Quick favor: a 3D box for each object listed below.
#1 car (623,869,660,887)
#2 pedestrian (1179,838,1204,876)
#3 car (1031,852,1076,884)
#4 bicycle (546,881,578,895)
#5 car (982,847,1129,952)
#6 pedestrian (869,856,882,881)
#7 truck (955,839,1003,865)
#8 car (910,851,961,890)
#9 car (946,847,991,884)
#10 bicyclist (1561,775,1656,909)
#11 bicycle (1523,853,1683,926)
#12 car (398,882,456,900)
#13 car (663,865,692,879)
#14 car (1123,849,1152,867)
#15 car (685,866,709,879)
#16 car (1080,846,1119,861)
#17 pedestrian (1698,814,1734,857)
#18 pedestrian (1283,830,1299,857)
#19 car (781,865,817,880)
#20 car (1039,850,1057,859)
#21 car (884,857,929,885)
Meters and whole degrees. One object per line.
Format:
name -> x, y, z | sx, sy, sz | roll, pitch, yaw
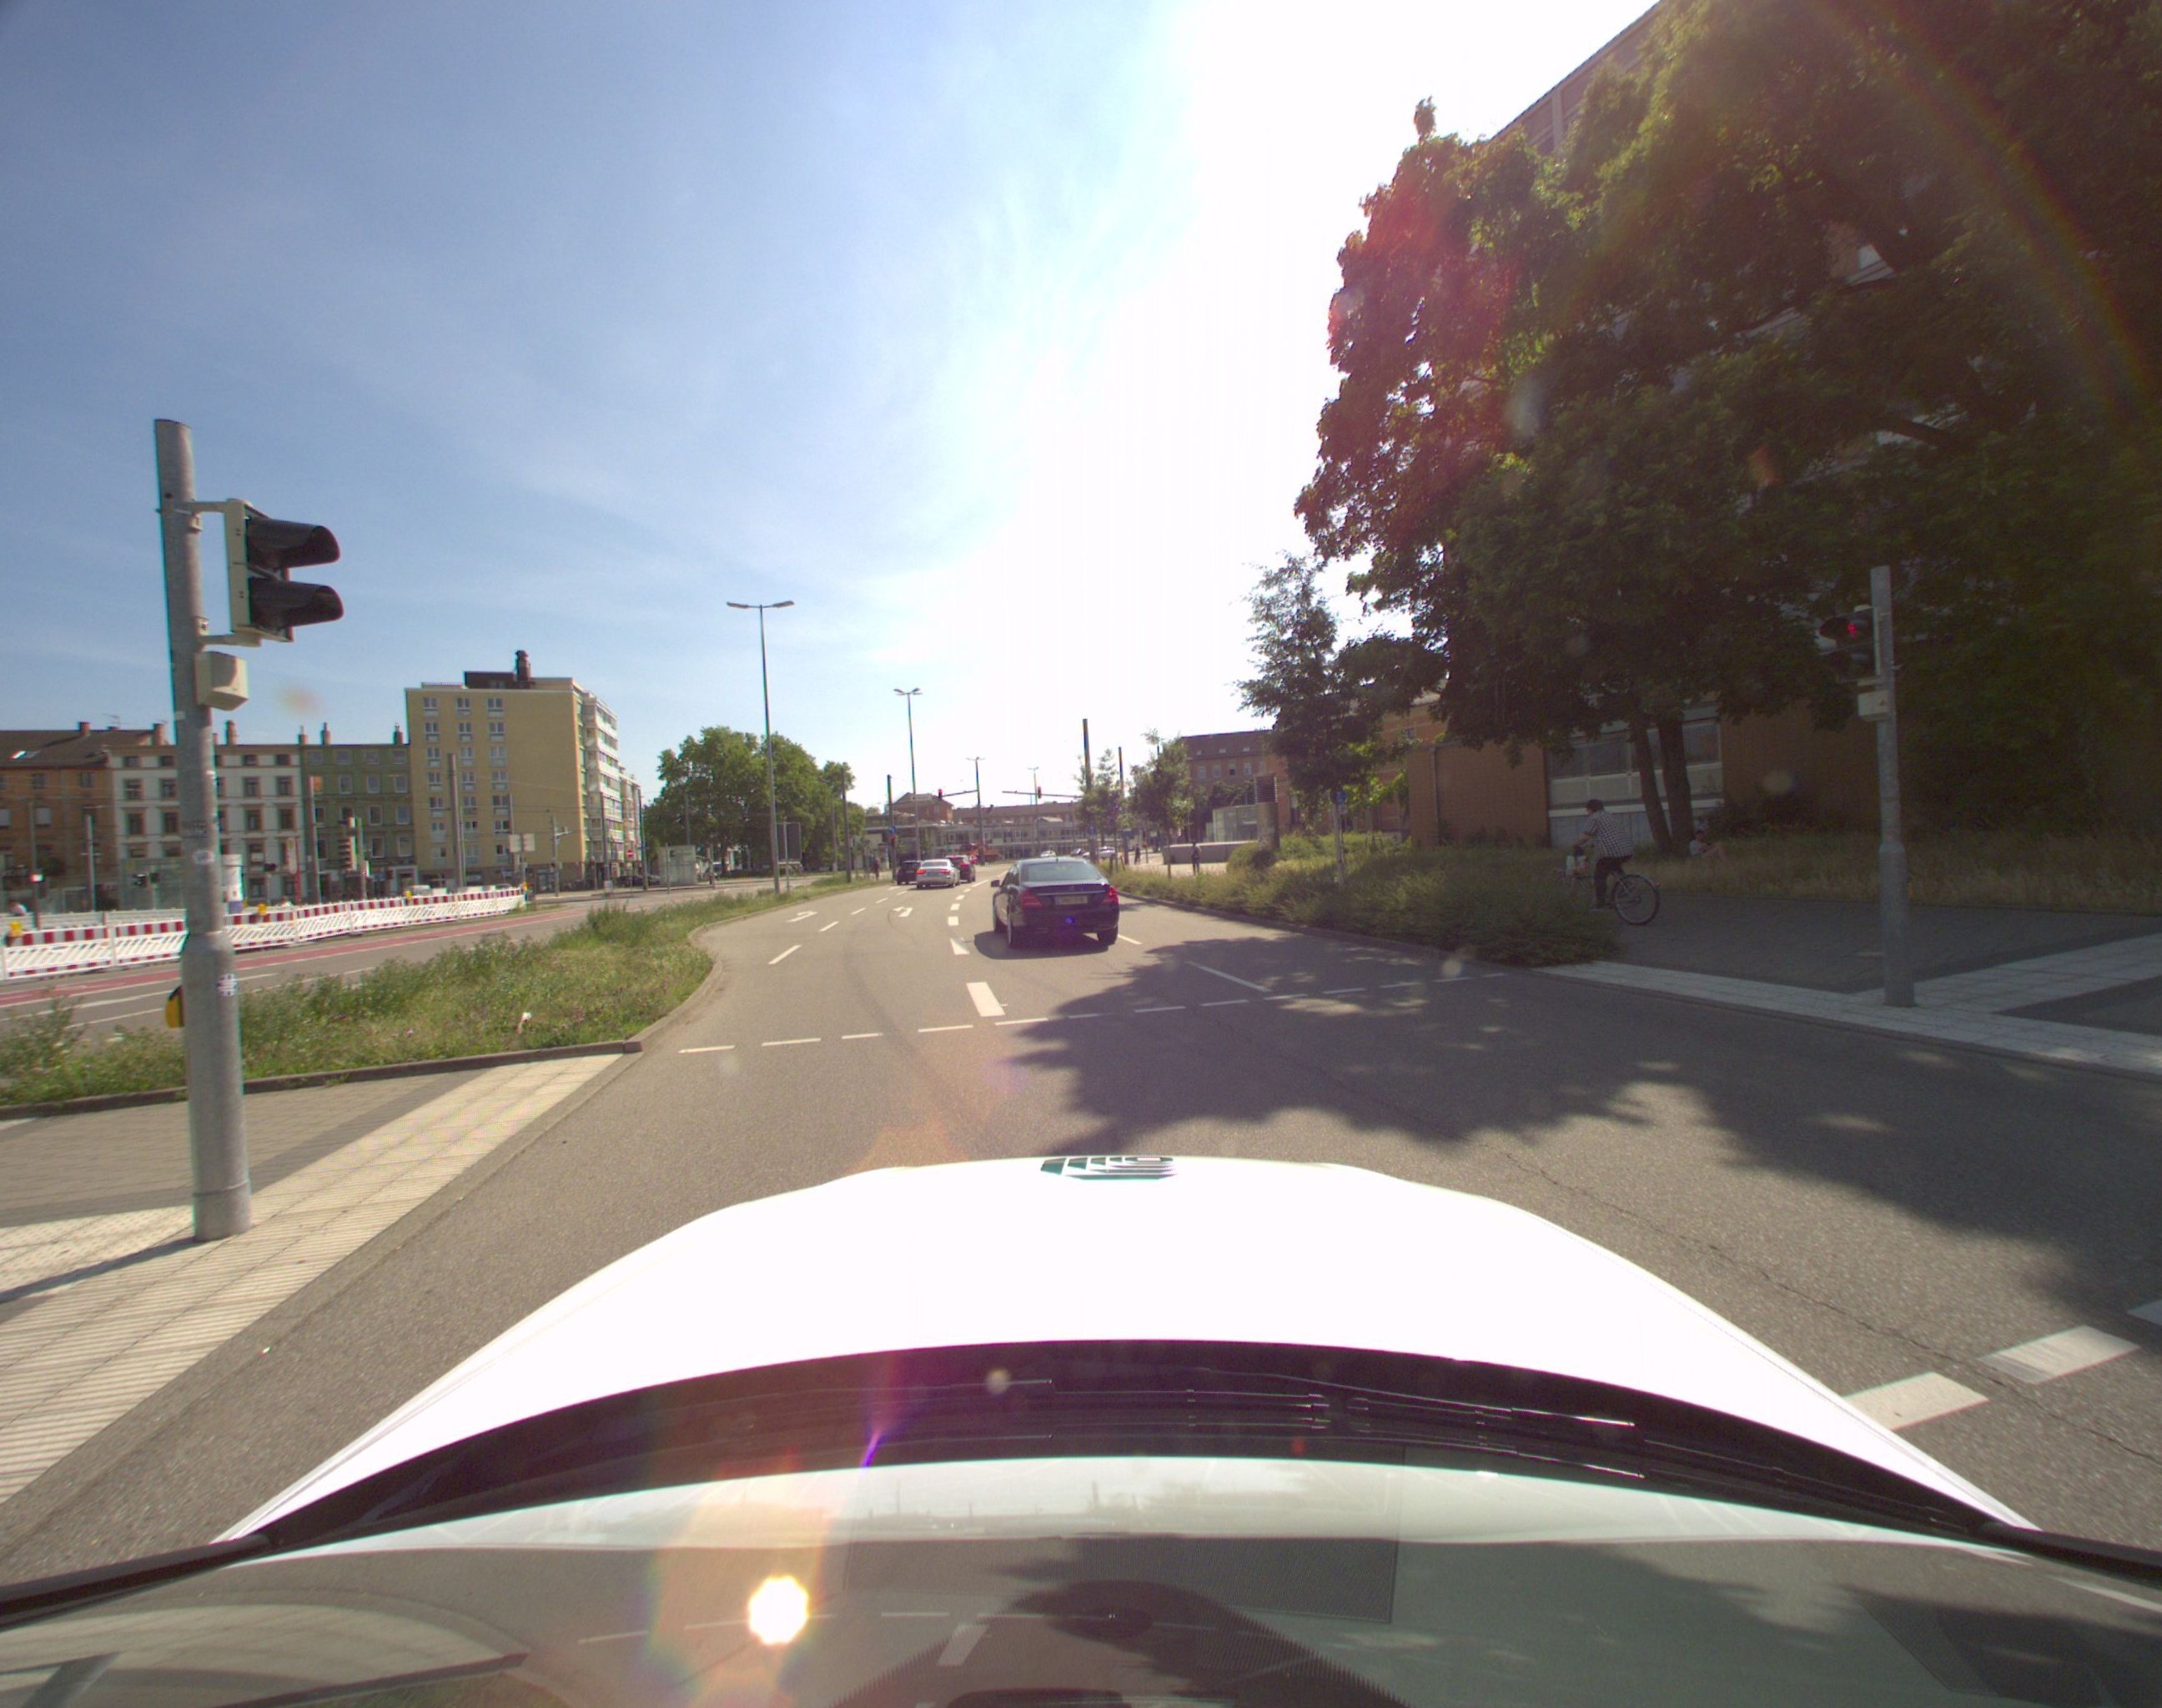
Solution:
car -> -57.670, 3.181, 106.919 | 4.009, 2.013, 1.983 | -4, 3, -27
pedestrian -> 5.199, 0.118, 38.302 | 0.870, 1.725, 0.798 | -3, 0, -8
car -> -1.456, 0.690, 41.329 | 1.793, 1.510, 3.988 | -2, 0, -8
bicycle -> -58.107, 3.813, 91.228 | 2.828, 1.222, 0.985 | -3, 3, -25
car -> -0.668, 0.770, 15.256 | 1.860, 1.530, 4.693 | -4, -1, -12
pedestrian -> -13.895, 0.986, 55.070 | 0.645, 1.661, 0.664 | -3, 0, 3
truck -> -16.001, -0.345, 128.639 | 3.034, 3.730, 7.981 | -3, 0, 31
car -> -7.511, 0.803, 42.308 | 1.989, 1.815, 3.996 | -3, 0, -3
car -> -6.670, 0.657, 48.737 | 1.987, 2.013, 4.000 | -3, 0, 0
bicyclist -> 7.771, -0.176, 12.027 | 0.687, 1.878, 0.854 | -3, 0, -17
bicycle -> 7.749, 0.509, 12.208 | 0.694, 0.946, 1.946 | -6, 1, -18
car -> -64.101, 3.626, 79.820 | 1.777, 1.510, 4.026 | -3, 0, 33
car -> -66.125, 2.933, 133.497 | 4.009, 2.013, 1.983 | -4, 3, -27
car -> 5.186, 0.349, 74.327 | 1.781, 1.510, 4.295 | -3, 0, 16
car -> -72.255, 3.471, 153.291 | 4.009, 2.013, 1.983 | -4, 3, -27
car -> 2.193, -0.025, 94.834 | 4.295, 1.510, 1.780 | -3, 0, -35
pedestrian -> 13.759, -0.394, 17.647 | 0.393, 0.892, 0.426 | -3, 0, -22
pedestrian -> 13.354, -0.688, 51.870 | 0.651, 1.661, 0.645 | -3, 0, -23
car -> -33.942, 2.189, 98.175 | 4.001, 1.510, 1.788 | -3, 0, -20
car -> -5.922, 0.121, 145.584 | 1.779, 1.510, 4.020 | -3, 0, 19
car -> -10.634, 1.015, 49.847 | 1.788, 1.510, 3.999 | -3, 0, 0
